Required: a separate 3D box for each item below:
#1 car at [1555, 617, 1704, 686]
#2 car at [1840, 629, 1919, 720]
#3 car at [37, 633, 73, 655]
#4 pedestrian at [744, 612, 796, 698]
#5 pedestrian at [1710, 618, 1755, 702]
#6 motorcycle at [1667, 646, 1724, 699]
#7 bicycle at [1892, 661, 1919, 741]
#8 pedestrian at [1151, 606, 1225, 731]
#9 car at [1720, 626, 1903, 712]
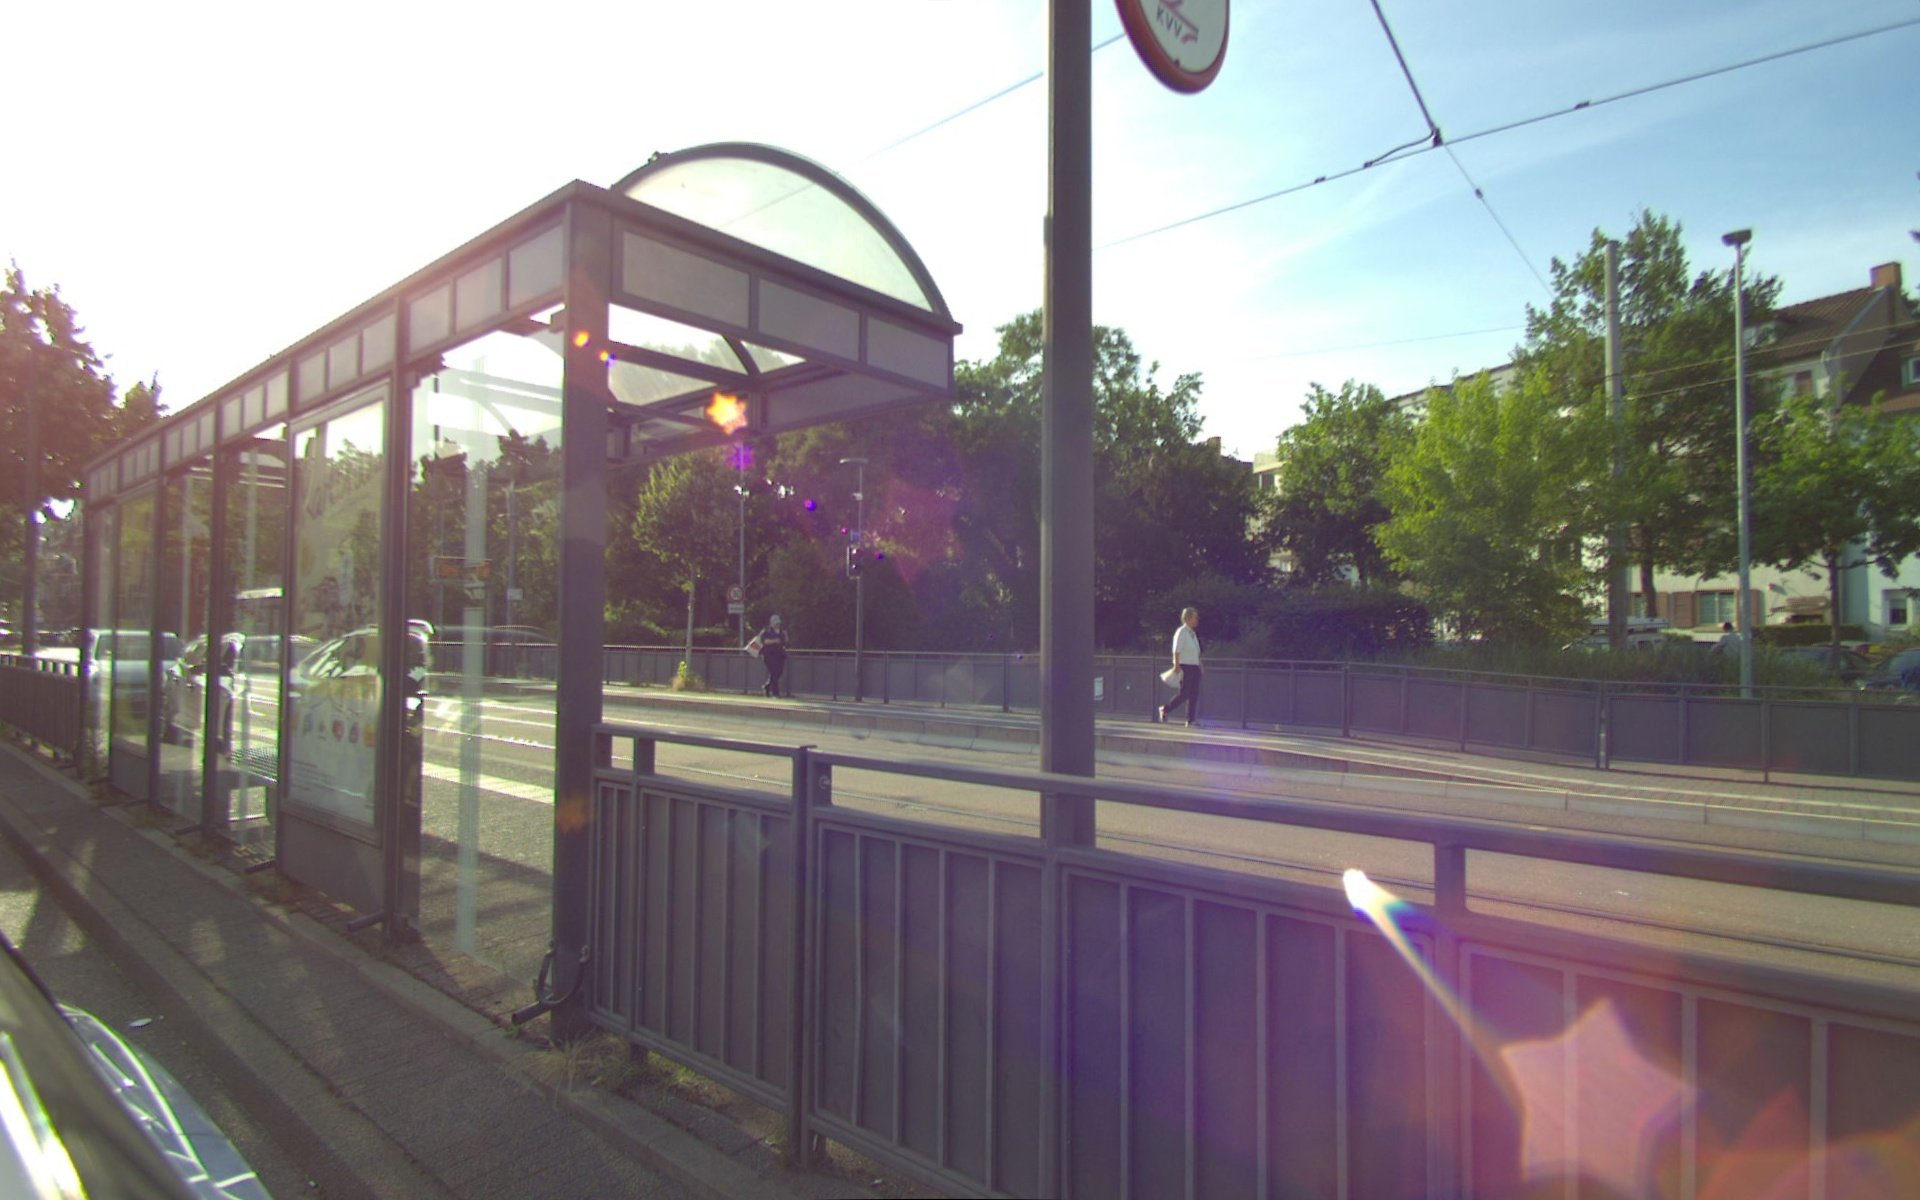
[{"bbox_3d":[18.453,1.398,27.882,3.931,1.767,1.860,2,-3,-30],"label":"car"},{"bbox_3d":[20.210,1.499,20.911,3.931,1.767,1.860,2,-3,-30],"label":"car"},{"bbox_3d":[-85.067,4.162,95.151,3.997,2.029,1.973,-2,-3,41],"label":"car"},{"bbox_3d":[-3.724,1.077,19.847,0.689,1.640,0.727,-2,-3,41],"label":"pedestrian"},{"bbox_3d":[15.763,1.217,20.668,0.669,1.668,0.367,-1,-3,33],"label":"pedestrian"},{"bbox_3d":[15.266,1.496,21.022,0.919,1.059,0.495,-1,-3,35],"label":"motorcycle"},{"bbox_3d":[14.583,1.460,14.430,1.864,1.118,0.718,-2,-1,42],"label":"bicycle"},{"bbox_3d":[3.101,0.917,13.770,0.727,1.640,0.699,-2,-3,41],"label":"pedestrian"},{"bbox_3d":[18.998,1.493,22.564,3.931,1.767,1.860,2,-3,-30],"label":"car"}]
